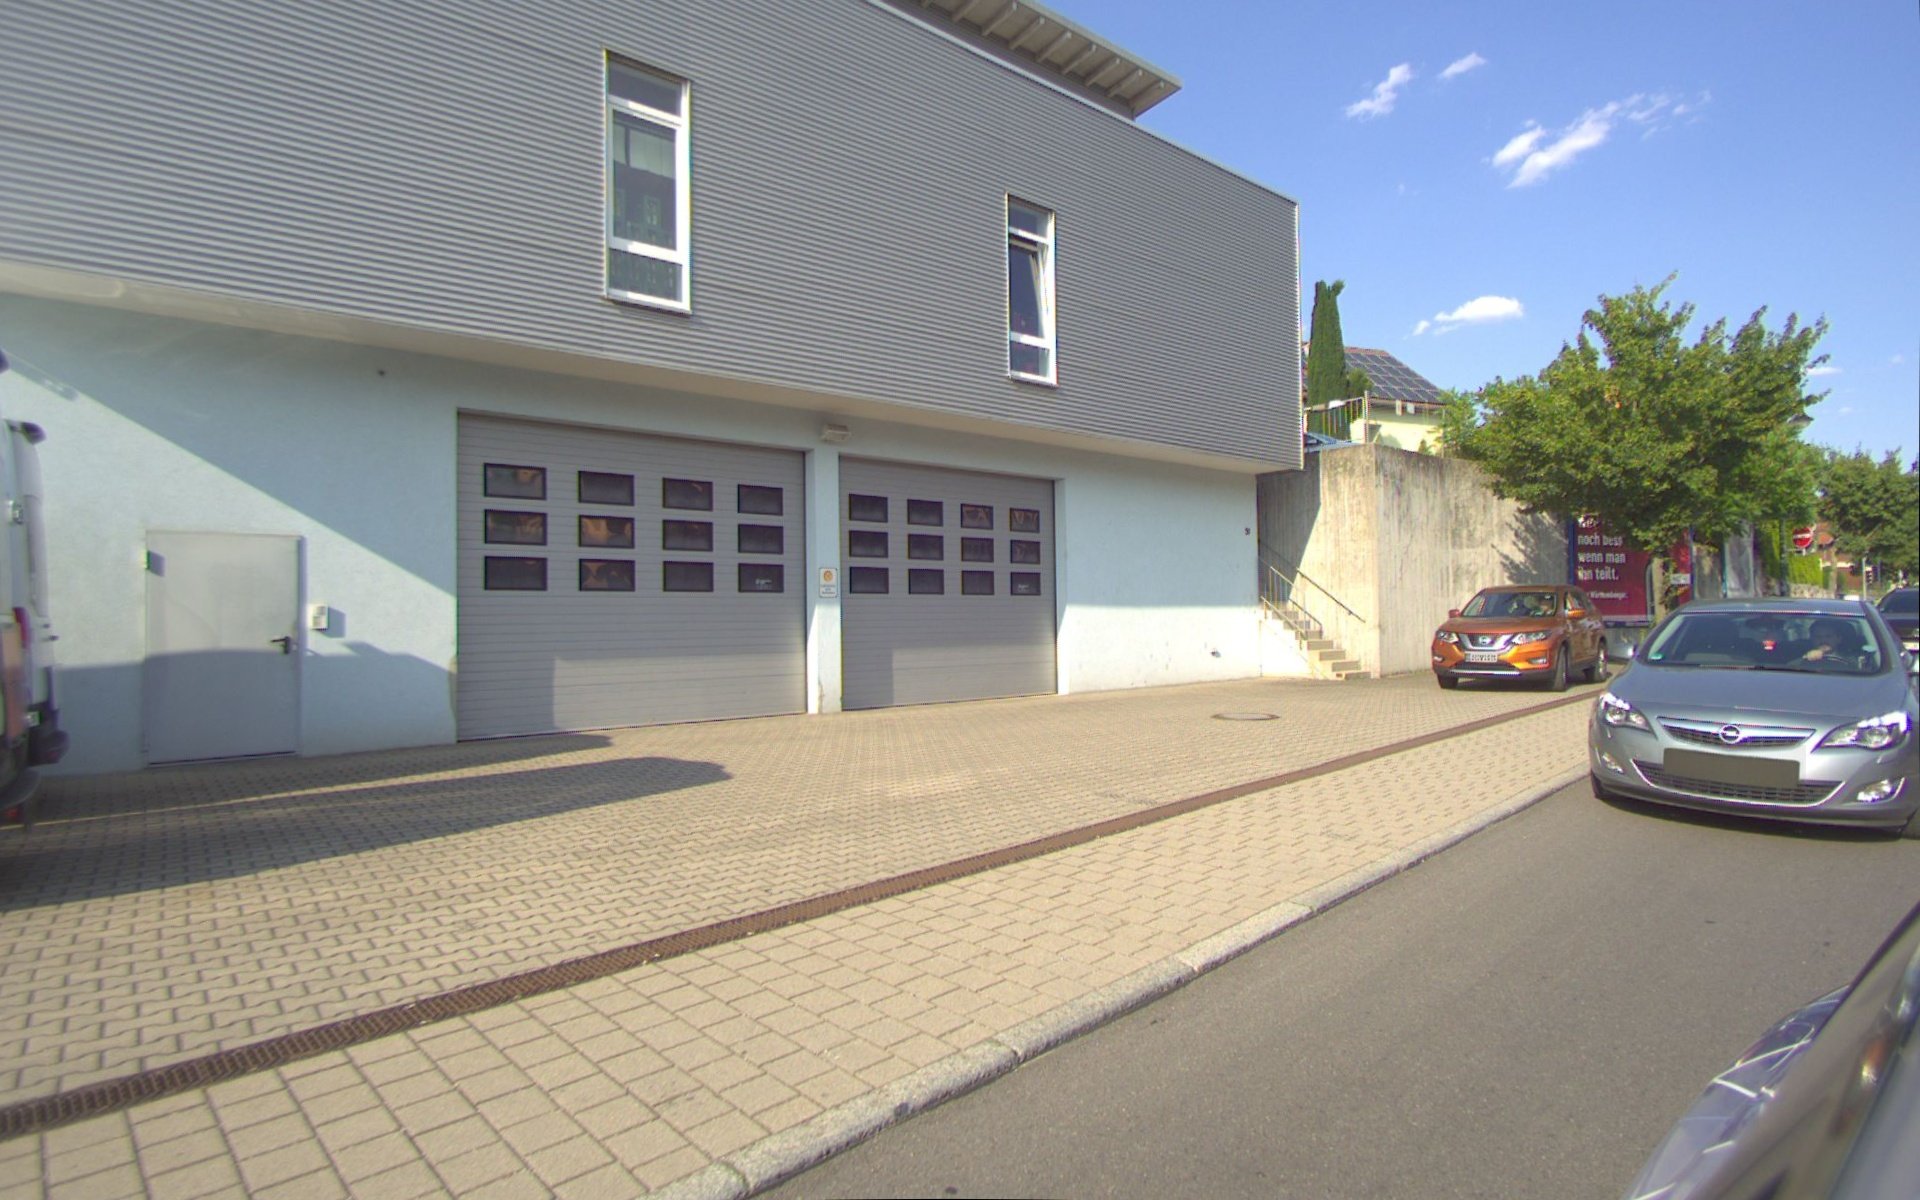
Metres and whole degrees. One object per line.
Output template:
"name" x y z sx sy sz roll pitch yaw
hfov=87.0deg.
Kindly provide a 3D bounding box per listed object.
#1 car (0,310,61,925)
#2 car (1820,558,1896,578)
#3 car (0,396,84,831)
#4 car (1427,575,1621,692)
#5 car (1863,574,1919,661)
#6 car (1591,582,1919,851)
"car" -7.278 0.072 3.248 6.487 2.715 2.153 0 -1 -41
"car" 70.346 -2.495 79.349 1.644 1.474 4.087 0 1 -25
"car" -8.876 0.082 5.379 6.330 2.757 2.114 0 -1 -41
"car" 9.388 0.466 16.673 1.833 1.670 4.469 -1 0 42
"car" 19.549 0.329 20.047 3.982 1.626 1.792 0 0 -38
"car" 6.112 0.623 7.439 1.648 1.440 4.077 1 1 45
